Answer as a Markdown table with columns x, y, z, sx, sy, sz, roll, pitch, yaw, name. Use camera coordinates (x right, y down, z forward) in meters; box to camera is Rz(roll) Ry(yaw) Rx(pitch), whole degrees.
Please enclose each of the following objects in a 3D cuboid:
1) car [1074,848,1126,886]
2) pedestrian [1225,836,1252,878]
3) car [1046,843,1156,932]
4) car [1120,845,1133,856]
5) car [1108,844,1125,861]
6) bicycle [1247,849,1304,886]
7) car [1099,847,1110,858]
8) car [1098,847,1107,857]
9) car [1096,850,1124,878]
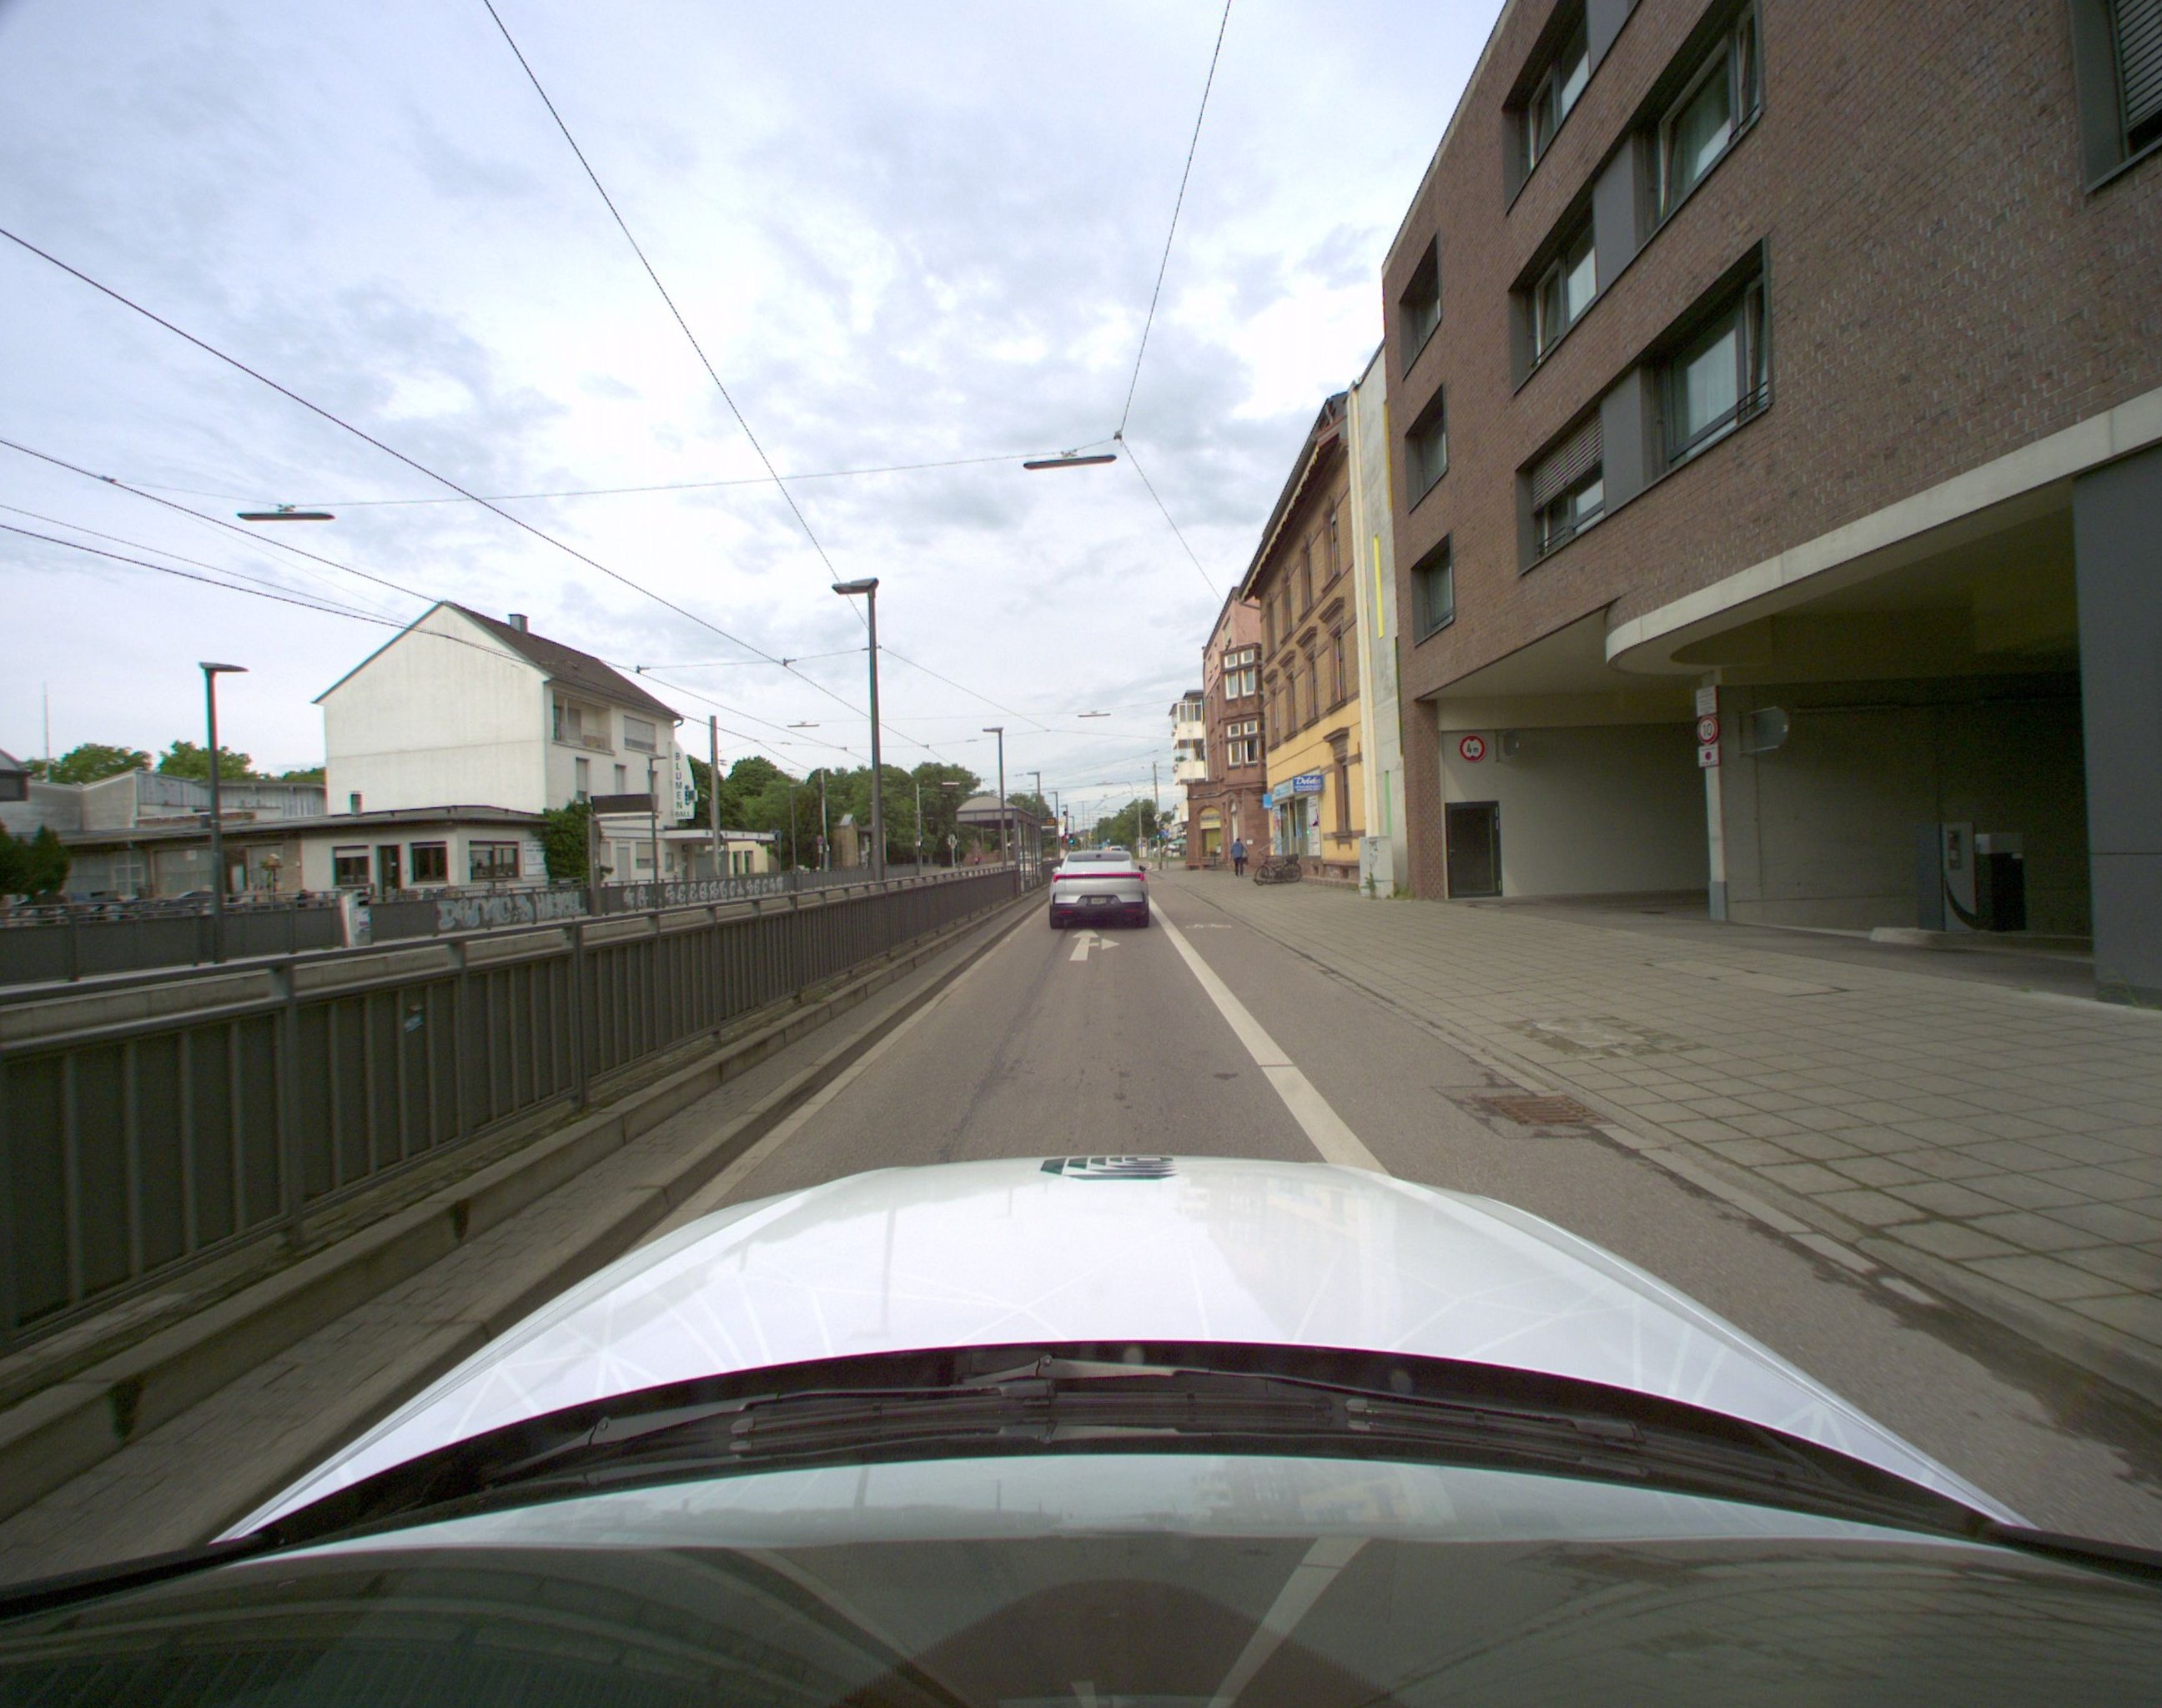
| x | y | z | sx | sy | sz | roll | pitch | yaw | name |
| --- | --- | --- | --- | --- | --- | --- | --- | --- | --- |
| 0.777 | 0.499 | 34.436 | 1.987 | 1.419 | 4.000 | -3 | 0 | 1 | car |
| 7.303 | 0.117 | 37.794 | 0.957 | 1.850 | 0.976 | -4 | 0 | 2 | pedestrian |
| 0.290 | 0.635 | 17.013 | 1.994 | 1.581 | 3.996 | -1 | -1 | -3 | car |
| 10.459 | -0.722 | 188.145 | 2.796 | 2.505 | 5.725 | -1 | 0 | 2 | car |
| 5.424 | -0.194 | 124.392 | 2.220 | 2.402 | 5.120 | -1 | 0 | -2 | car |
| 6.842 | 0.475 | 28.717 | 1.771 | 1.129 | 0.642 | -5 | 0 | 1 | bicycle |
| 4.644 | -0.283 | 159.317 | 1.986 | 2.013 | 4.002 | -2 | 0 | 2 | car |
| 5.004 | -0.445 | 186.123 | 1.986 | 2.013 | 4.002 | -2 | 0 | 2 | car |
| 1.865 | 0.628 | 52.578 | 1.674 | 1.687 | 3.825 | -1 | 0 | 2 | car |
